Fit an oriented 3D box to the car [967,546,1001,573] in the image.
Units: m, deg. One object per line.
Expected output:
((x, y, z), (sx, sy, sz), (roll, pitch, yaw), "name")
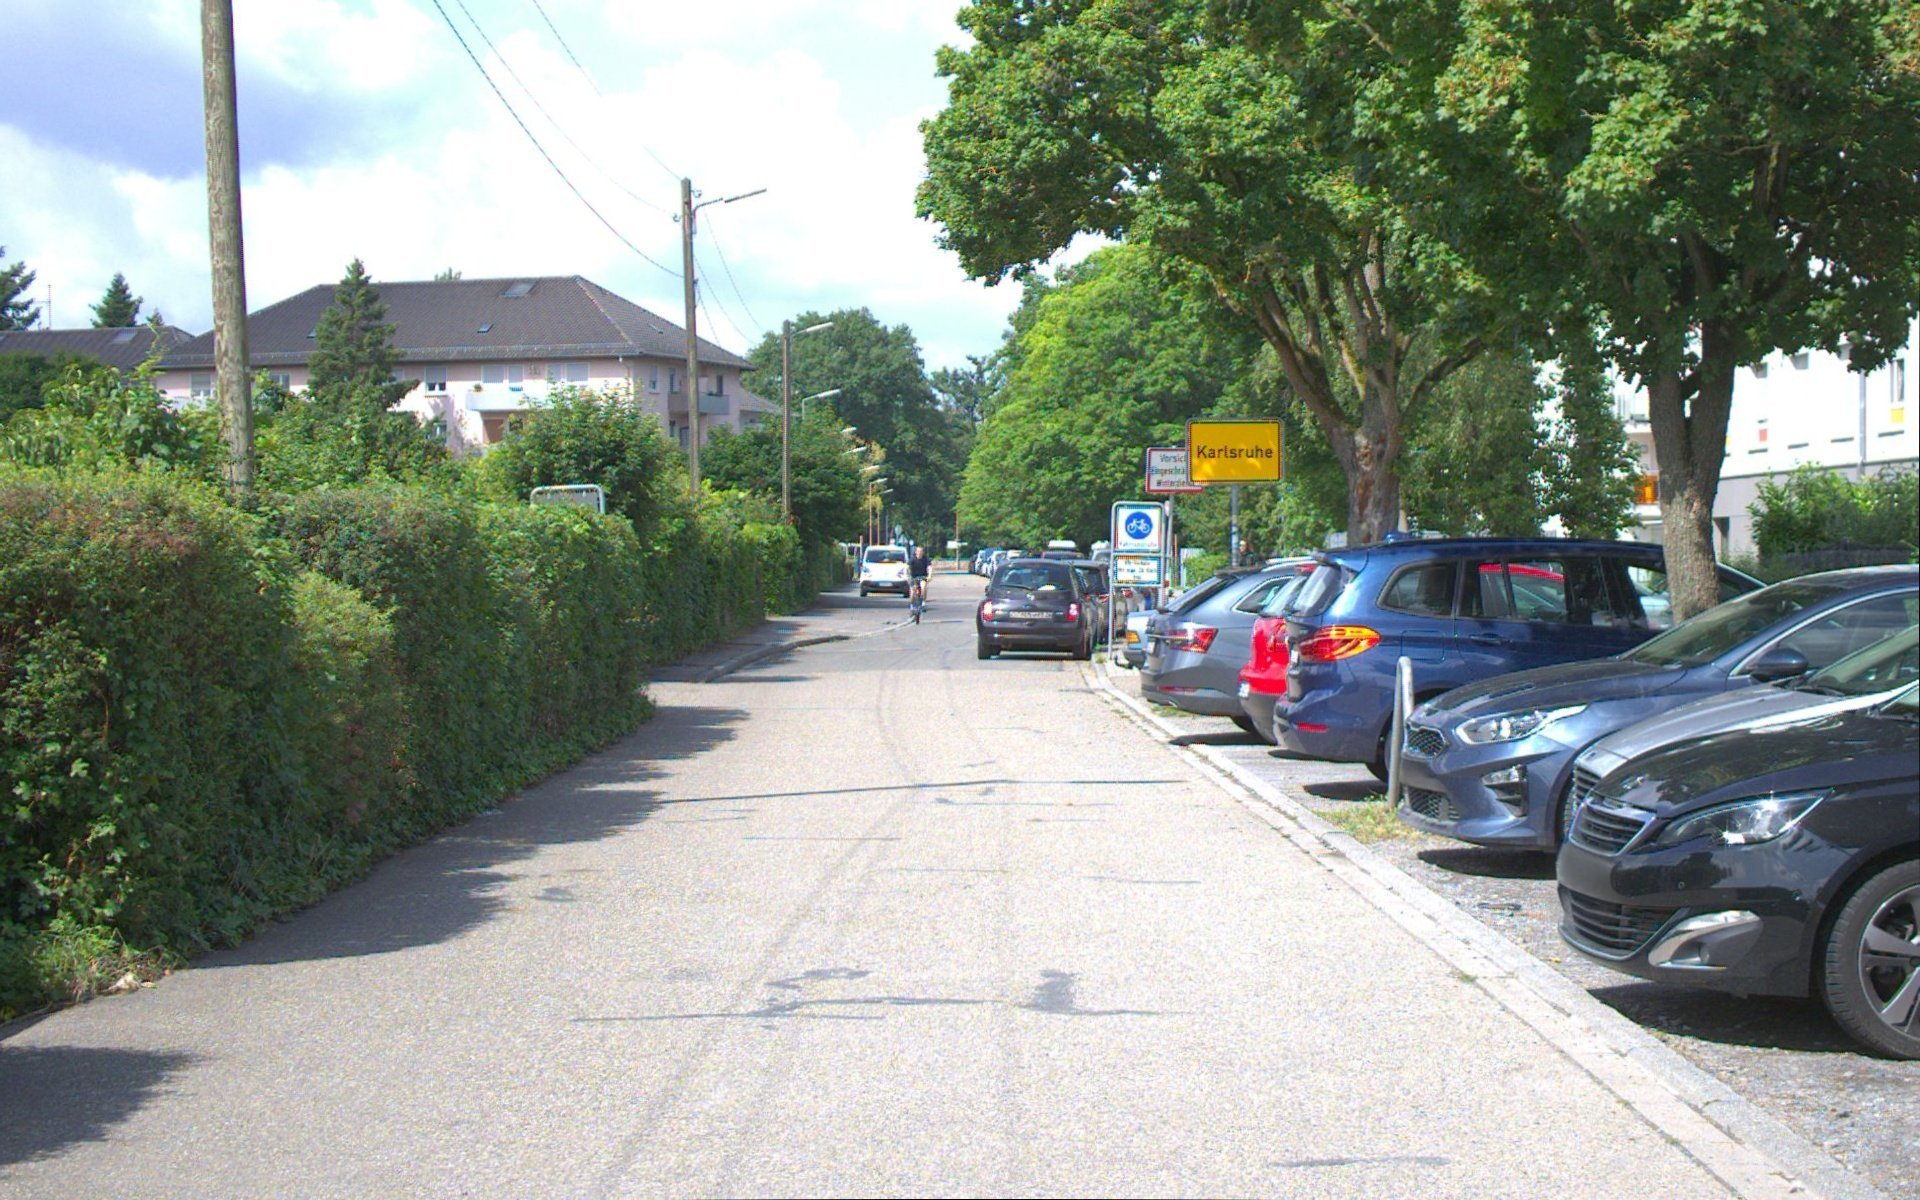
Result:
((1.495, -2.545, 215.230), (1.852, 1.612, 3.999), (1, 1, 4), "car")

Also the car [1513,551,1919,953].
((4.313, 0.586, 13.851), (3.812, 1.487, 1.902), (1, 1, -1), "car")

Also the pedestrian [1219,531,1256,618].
((5.601, -0.512, 69.338), (0.610, 1.739, 0.721), (1, 0, 13), "pedestrian")

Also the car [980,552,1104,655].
((1.294, 0.030, 52.996), (1.663, 1.501, 3.999), (1, 1, 4), "car")

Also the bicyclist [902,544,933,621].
((-1.028, -0.428, 82.886), (0.659, 1.846, 1.043), (-2, 1, 2), "bicyclist")

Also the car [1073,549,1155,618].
((3.339, -0.371, 75.055), (1.663, 1.430, 3.542), (1, 1, 1), "car")

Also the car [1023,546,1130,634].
((2.206, -0.197, 64.110), (1.664, 1.547, 3.636), (1, 1, 7), "car")

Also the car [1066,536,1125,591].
((4.879, -1.318, 123.708), (2.058, 1.919, 4.540), (1, 1, 2), "car")

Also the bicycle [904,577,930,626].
((-1.036, 0.031, 82.987), (0.518, 1.146, 1.827), (-2, 1, 2), "bicycle")

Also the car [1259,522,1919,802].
((4.026, 0.361, 21.511), (4.154, 1.632, 1.879), (-1, 1, 1), "car")

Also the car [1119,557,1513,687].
((4.022, 0.238, 39.191), (4.359, 1.387, 1.718), (-1, 0, 4), "car")

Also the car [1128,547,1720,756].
((3.730, 0.402, 28.175), (4.548, 1.573, 1.809), (1, 1, -1), "car")

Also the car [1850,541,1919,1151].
((4.311, 0.660, 8.383), (3.723, 1.534, 1.850), (1, 1, -3), "car")

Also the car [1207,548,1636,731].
((4.136, 0.342, 31.161), (3.573, 1.544, 1.667), (1, 1, -3), "car")

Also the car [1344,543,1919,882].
((4.152, 0.520, 16.532), (4.335, 1.487, 1.976), (1, 1, -1), "car")

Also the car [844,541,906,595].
((-2.982, -1.131, 121.454), (1.903, 1.808, 4.000), (1, 1, 2), "car")

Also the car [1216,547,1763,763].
((3.899, 0.389, 25.765), (3.809, 1.527, 1.762), (-1, 1, 0), "car")

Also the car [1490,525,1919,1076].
((4.032, 0.608, 11.027), (4.302, 1.588, 2.000), (1, 1, -1), "car")

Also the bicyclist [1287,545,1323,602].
((10.914, -0.833, 108.808), (0.786, 1.779, 0.892), (1, 1, 32), "bicyclist")
